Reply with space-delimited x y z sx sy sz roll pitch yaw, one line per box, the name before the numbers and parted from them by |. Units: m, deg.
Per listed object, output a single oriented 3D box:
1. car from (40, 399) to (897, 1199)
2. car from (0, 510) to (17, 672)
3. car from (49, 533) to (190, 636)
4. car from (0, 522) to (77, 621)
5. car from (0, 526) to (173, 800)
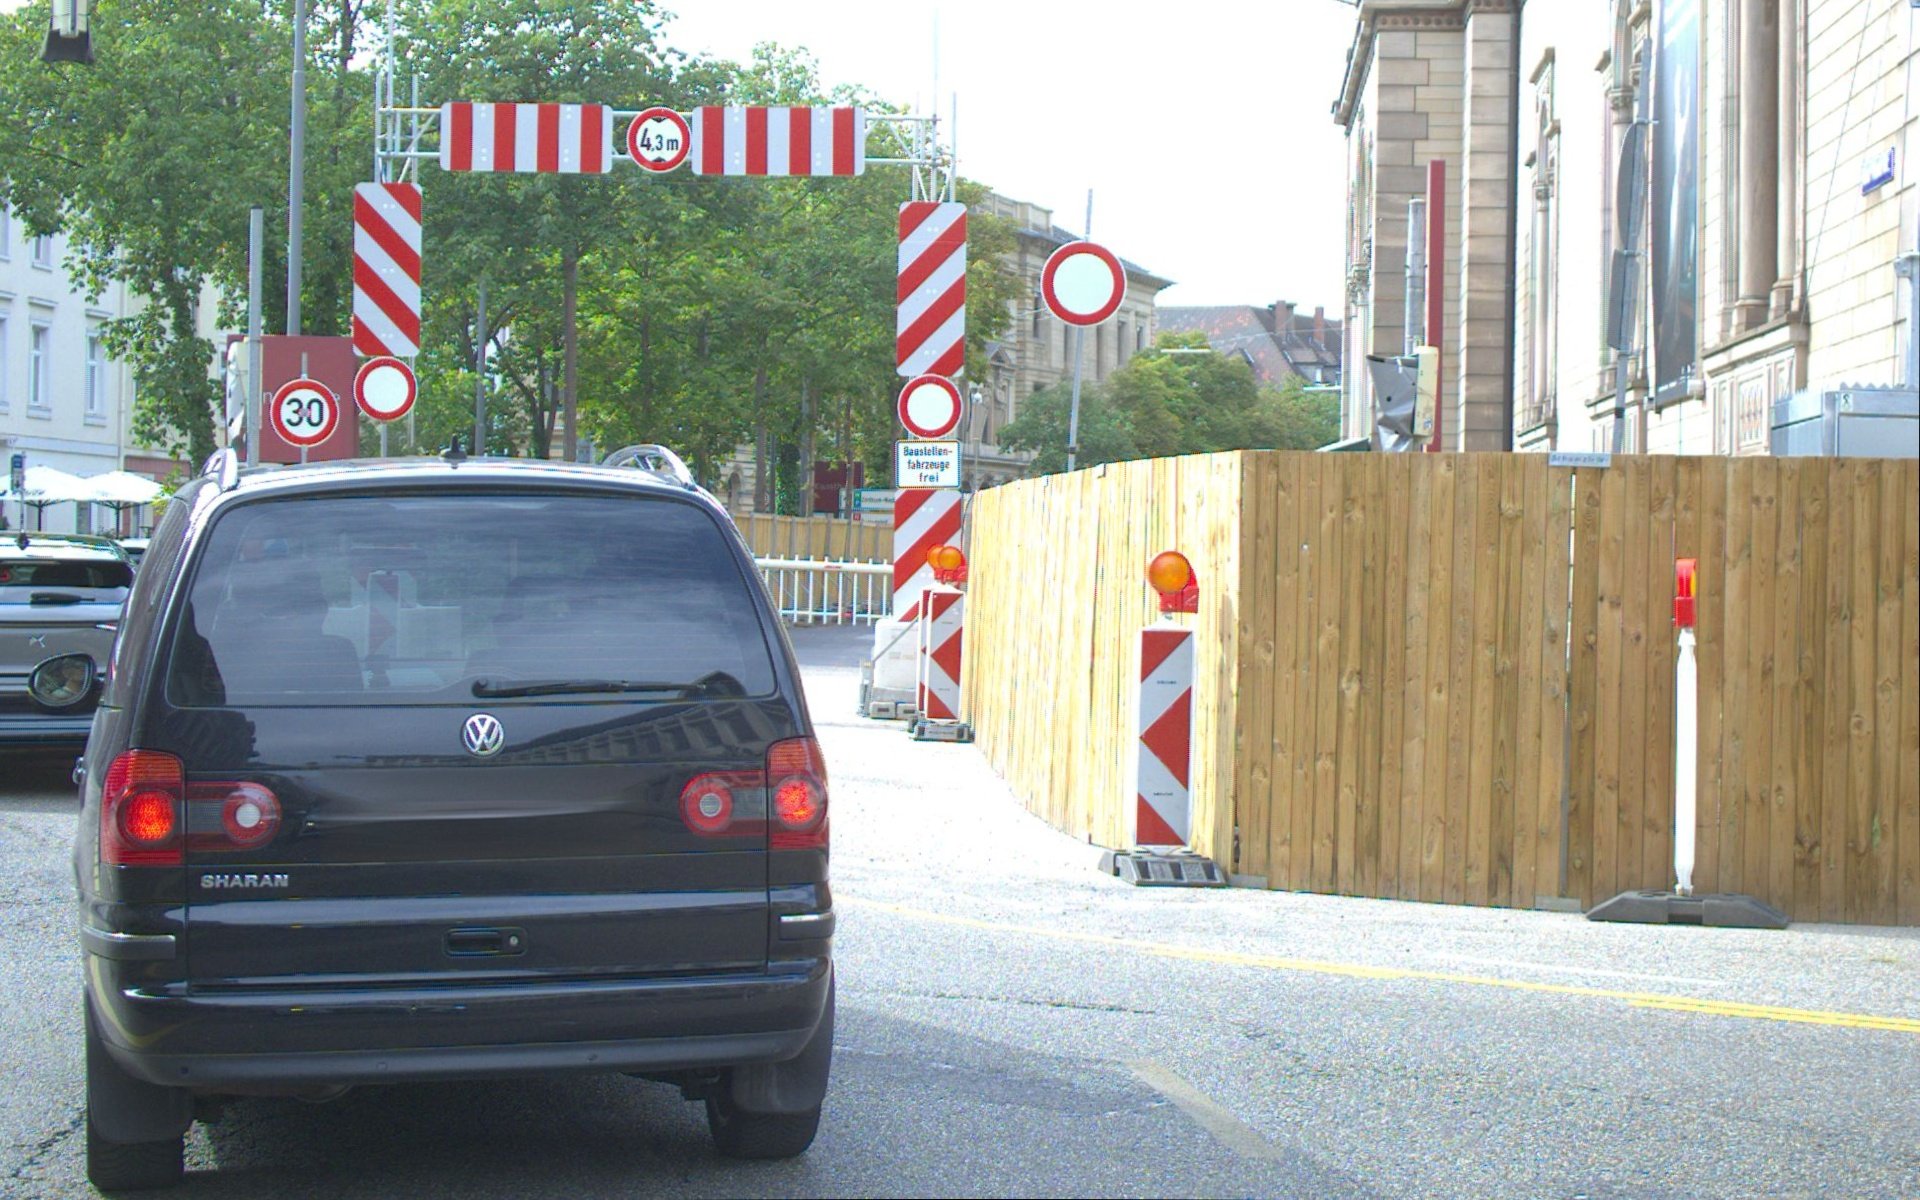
car | -1.504 0.463 9.383 1.789 1.784 4.104 1 0 -13
car | -10.843 -0.126 35.145 1.773 1.580 4.001 1 0 -23
car | -13.557 -0.265 55.629 1.773 1.580 4.001 1 0 -8
car | -13.267 -0.405 47.715 1.649 1.317 3.676 1 0 -10
car | -5.771 0.303 20.366 1.677 1.464 4.104 1 0 -19
